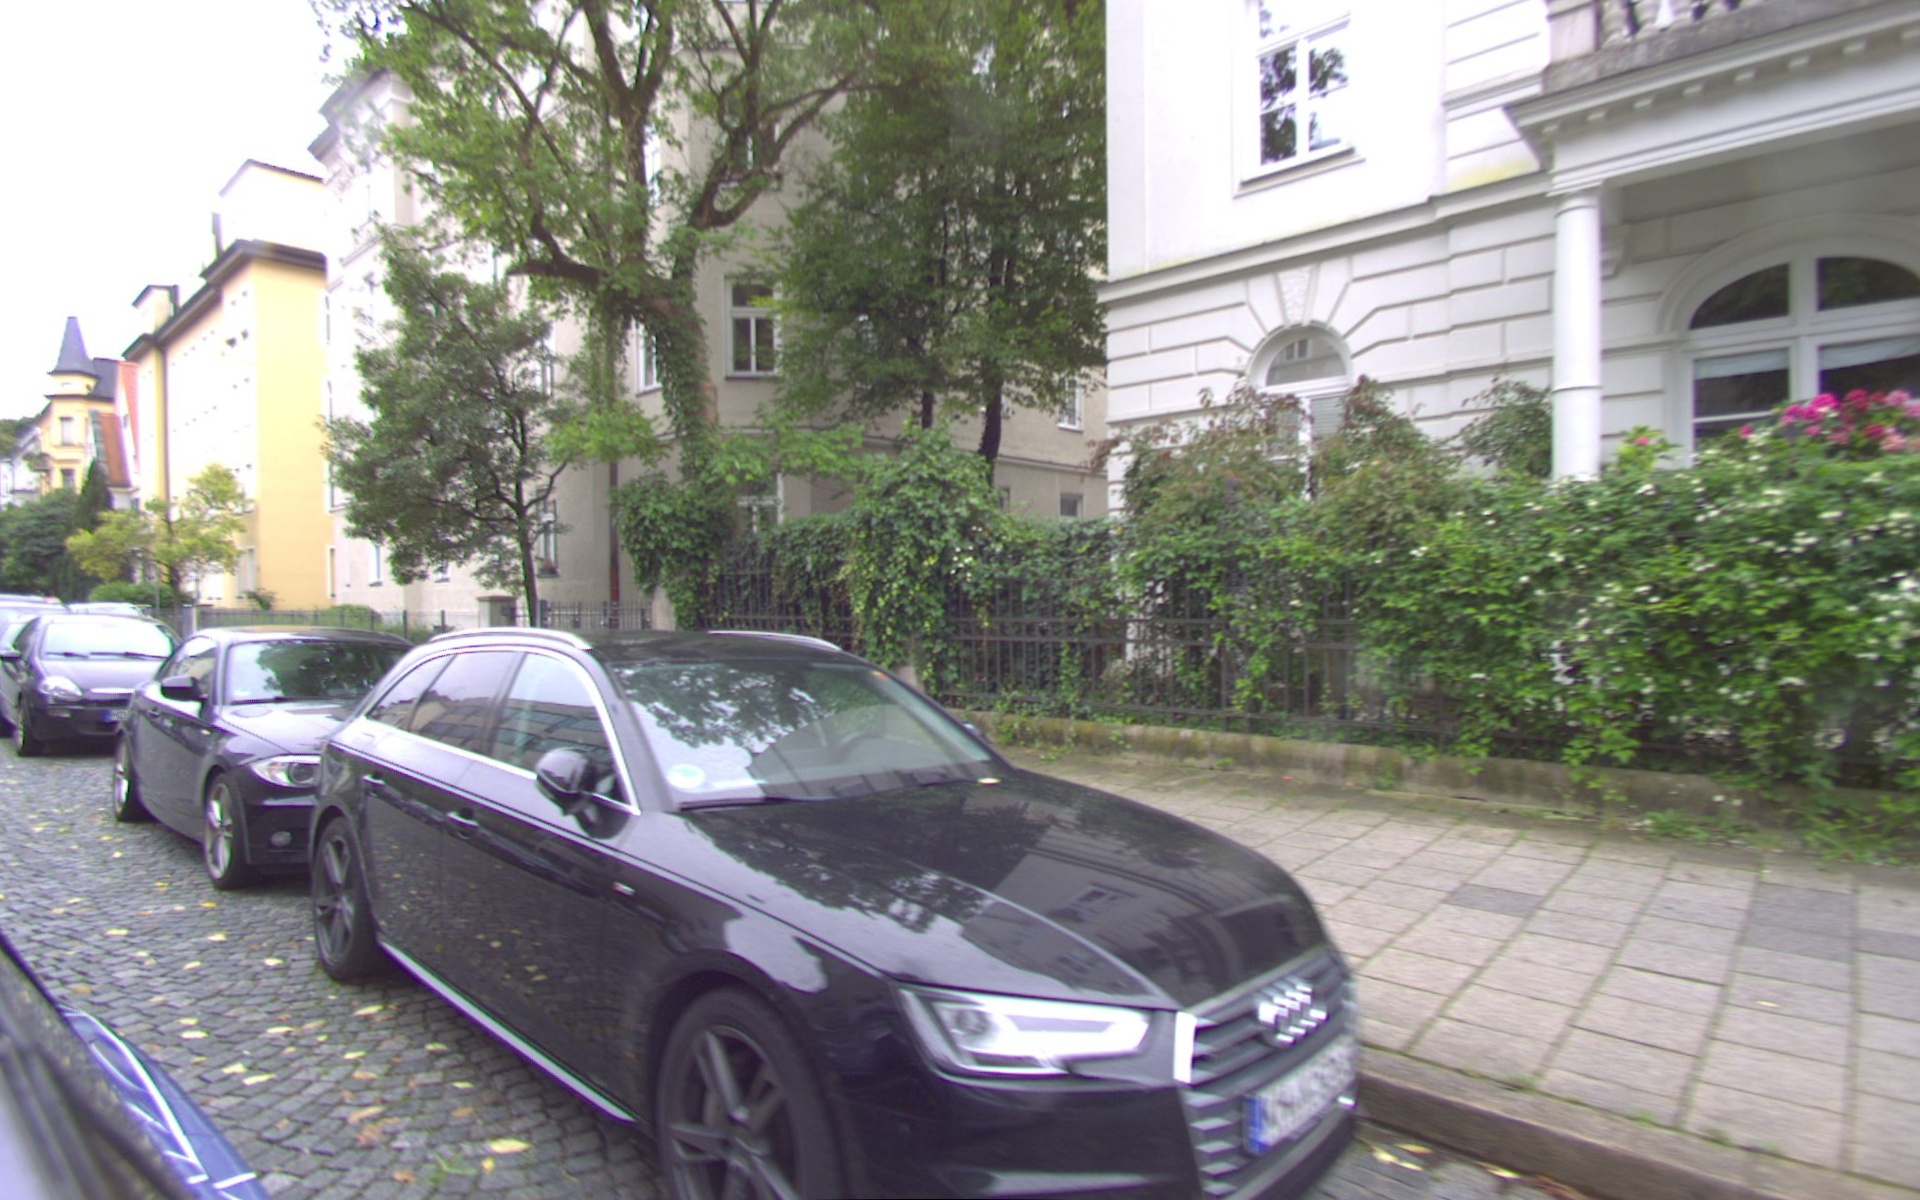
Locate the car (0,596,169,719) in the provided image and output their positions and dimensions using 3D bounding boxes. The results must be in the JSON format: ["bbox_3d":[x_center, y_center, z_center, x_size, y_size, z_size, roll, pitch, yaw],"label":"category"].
[{"bbox_3d":[-13.644,0.777,15.284,5.018,1.573,1.957,-1,-1,43],"label":"car"}]

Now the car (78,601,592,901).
[{"bbox_3d":[-4.523,0.780,6.998,4.495,1.428,1.764,-1,-3,41],"label":"car"}]

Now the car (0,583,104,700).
[{"bbox_3d":[-17.608,0.725,18.685,5.175,1.932,1.972,-1,-3,42],"label":"car"}]

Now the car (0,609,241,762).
[{"bbox_3d":[-9.935,0.842,11.685,4.167,1.455,1.646,-1,-1,39],"label":"car"}]

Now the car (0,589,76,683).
[{"bbox_3d":[-21.358,0.766,22.566,4.825,1.932,1.853,-1,-2,42],"label":"car"}]

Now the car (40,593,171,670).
[{"bbox_3d":[-22.814,0.786,26.957,4.656,1.747,1.925,-1,3,42],"label":"car"}]

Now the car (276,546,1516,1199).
[{"bbox_3d":[-0.724,0.702,3.583,4.407,1.428,1.866,-1,-3,43],"label":"car"}]

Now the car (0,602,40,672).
[{"bbox_3d":[-25.967,0.954,26.732,4.400,1.748,1.846,-1,-2,40],"label":"car"}]

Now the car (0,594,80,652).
[{"bbox_3d":[-35.010,0.836,38.178,5.328,1.945,1.973,-1,2,41],"label":"car"}]
